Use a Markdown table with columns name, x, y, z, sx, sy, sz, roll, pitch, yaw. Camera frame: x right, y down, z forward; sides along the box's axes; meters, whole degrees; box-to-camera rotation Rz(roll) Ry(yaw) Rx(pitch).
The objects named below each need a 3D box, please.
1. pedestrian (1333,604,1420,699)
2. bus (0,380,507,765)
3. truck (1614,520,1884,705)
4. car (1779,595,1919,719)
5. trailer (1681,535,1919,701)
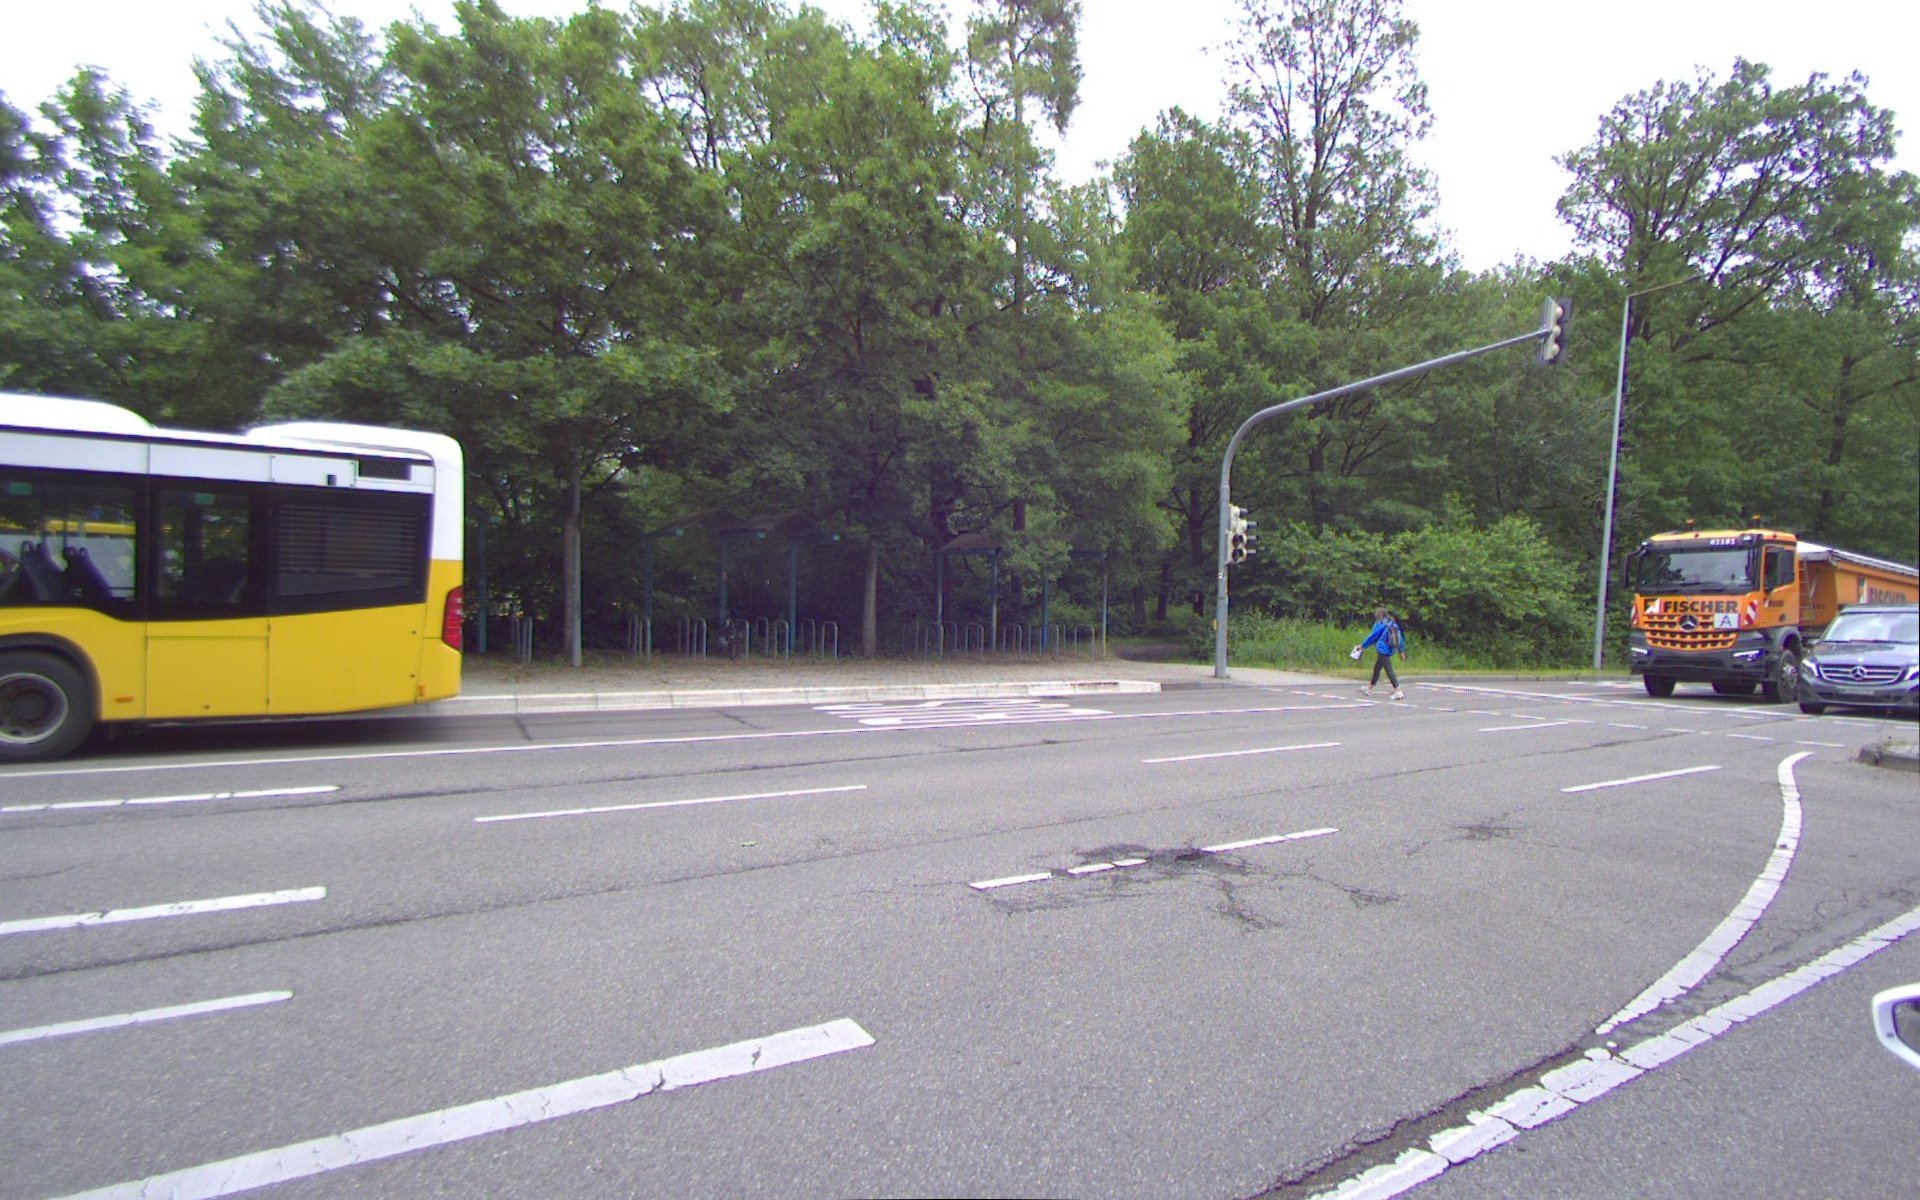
| name | x | y | z | sx | sy | sz | roll | pitch | yaw |
| --- | --- | --- | --- | --- | --- | --- | --- | --- | --- |
| pedestrian | 7.668 | 0.920 | 18.522 | 1.055 | 1.671 | 1.043 | 0 | 0 | -27 |
| bus | -9.051 | -0.248 | 9.285 | 8.593 | 3.169 | 2.884 | 1 | 0 | -31 |
| truck | 17.038 | 0.369 | 21.513 | 7.091 | 3.362 | 2.720 | 3 | -2 | -36 |
| car | 16.334 | 0.962 | 17.487 | 4.790 | 1.918 | 1.981 | 2 | -2 | -35 |
| trailer | 20.482 | 0.530 | 24.022 | 8.487 | 3.362 | 2.720 | 3 | -2 | -36 |
